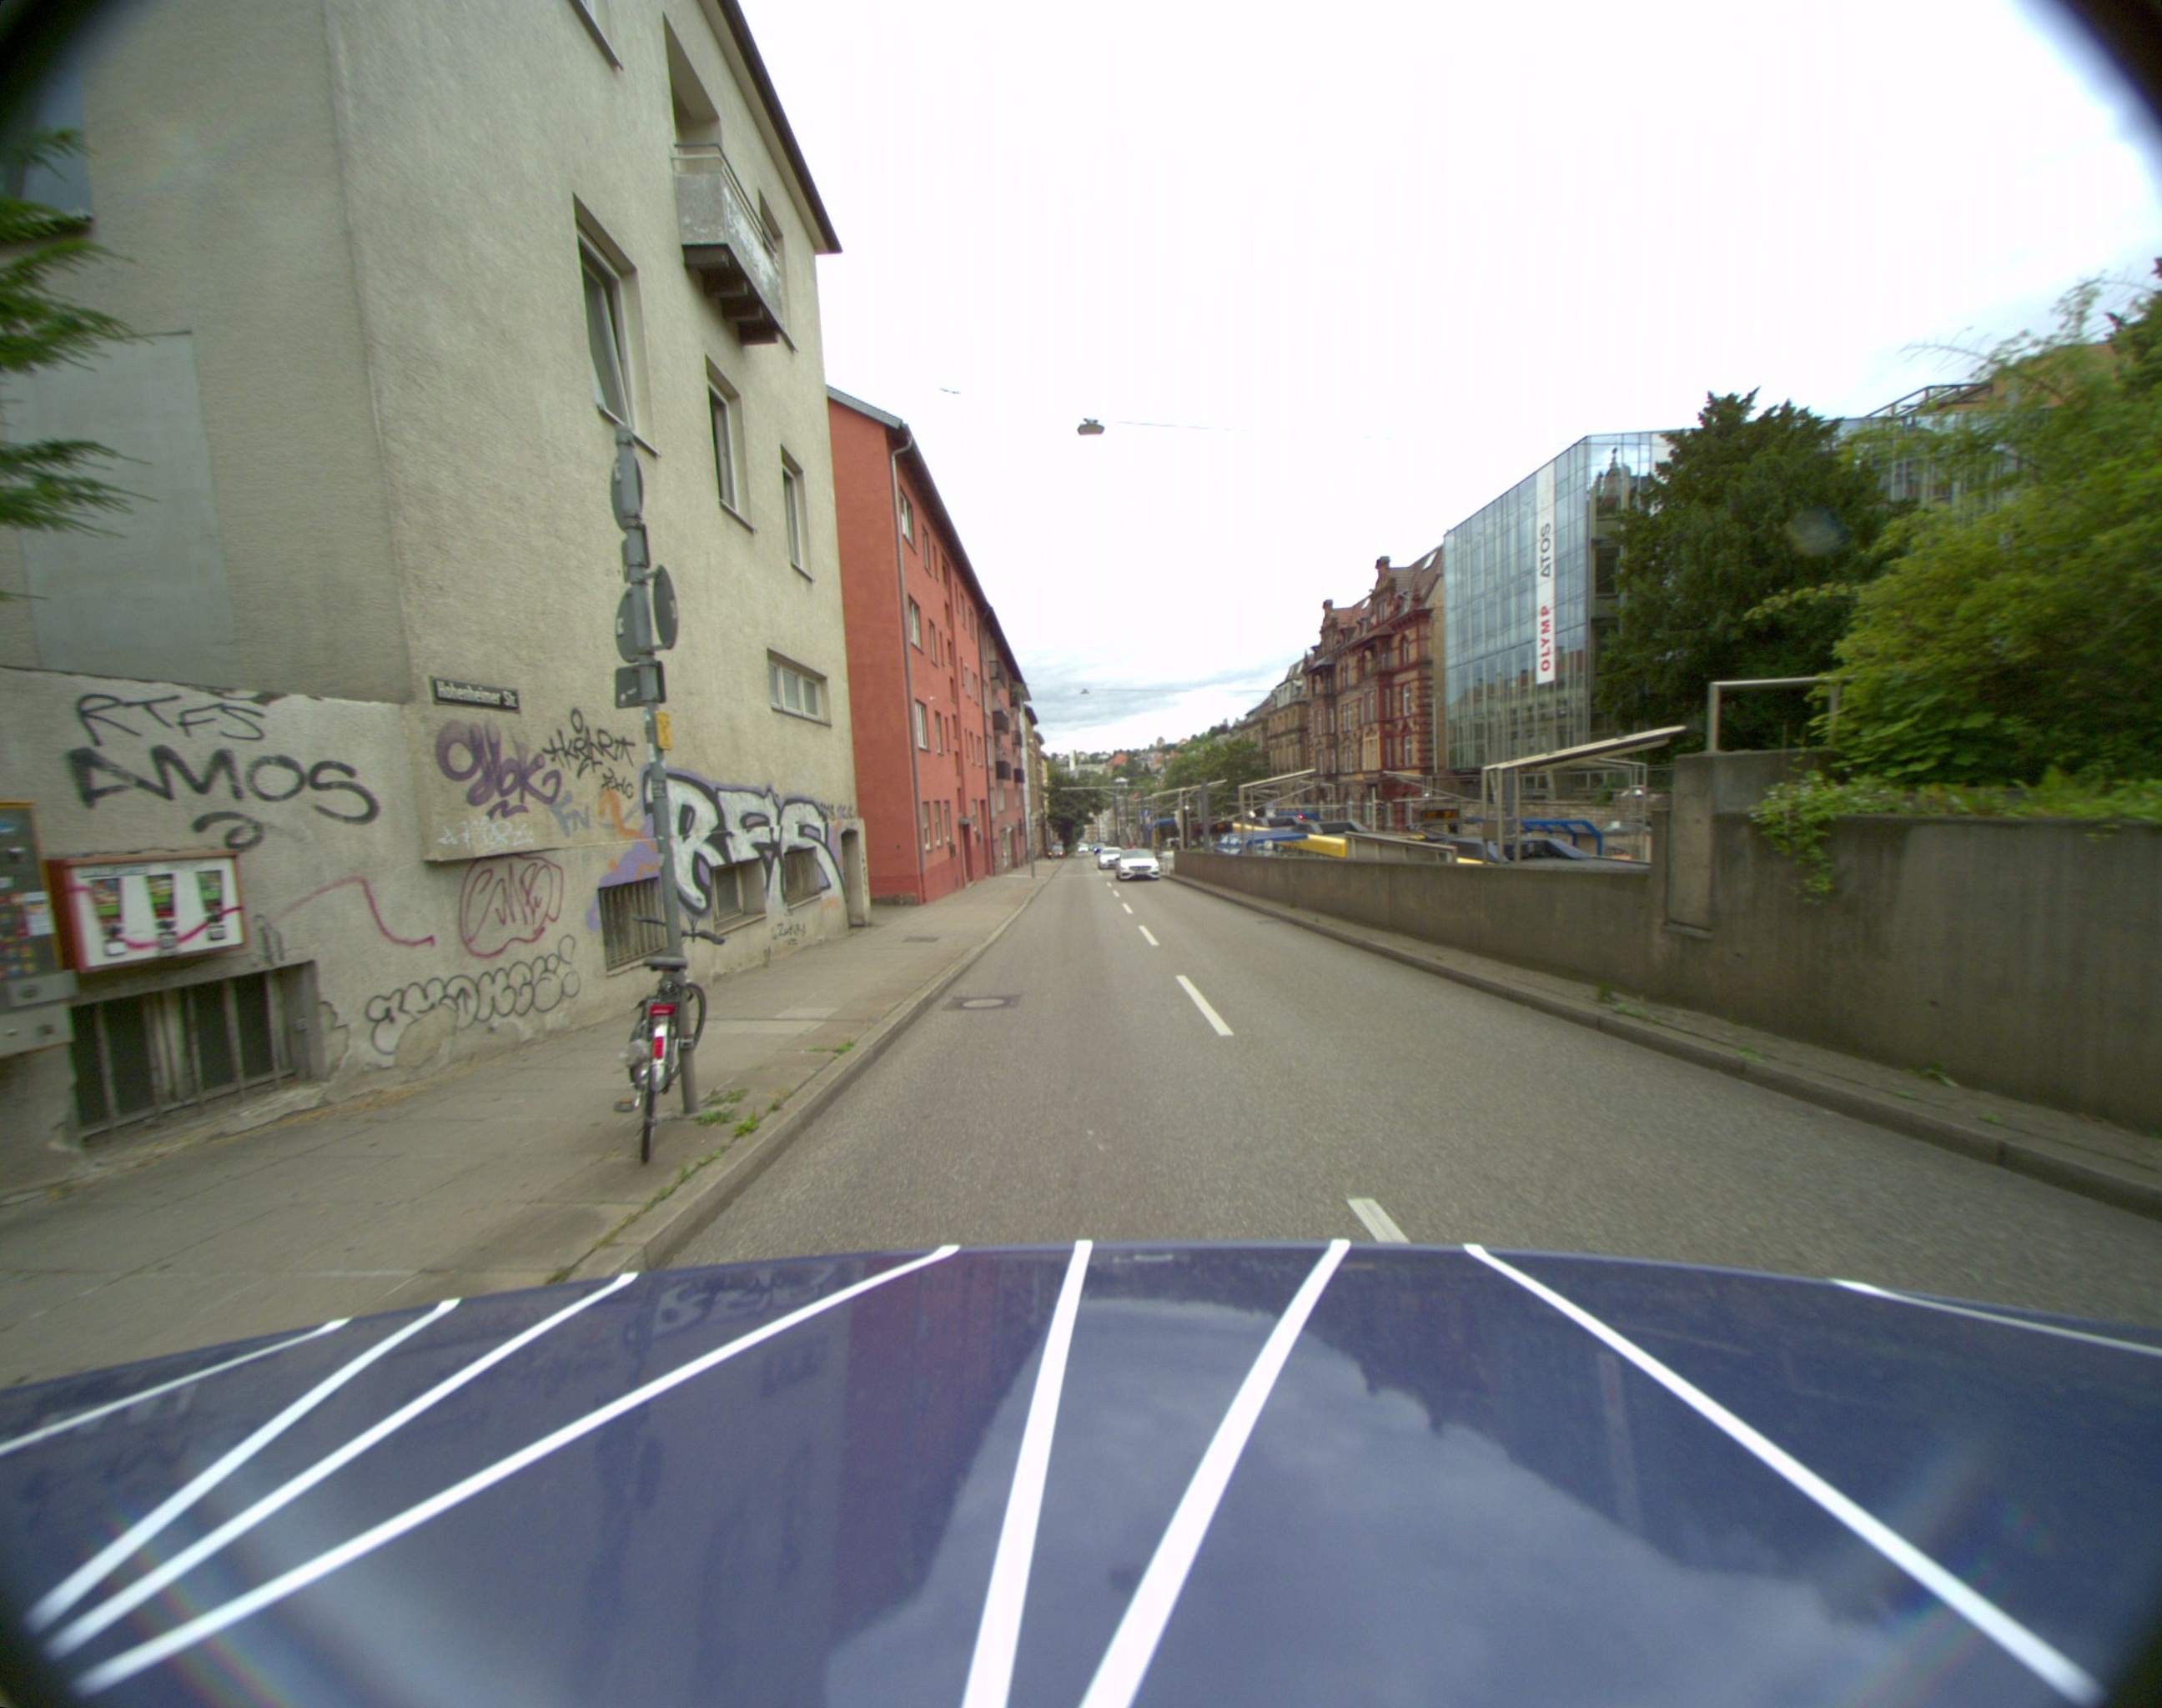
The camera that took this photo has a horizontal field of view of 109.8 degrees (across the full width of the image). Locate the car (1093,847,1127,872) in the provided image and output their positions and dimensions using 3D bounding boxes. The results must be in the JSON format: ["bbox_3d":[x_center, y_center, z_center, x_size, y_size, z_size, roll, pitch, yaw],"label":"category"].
[{"bbox_3d":[1.951,0.358,52.314,1.999,1.479,4.229,-6,1,-1],"label":"car"}]

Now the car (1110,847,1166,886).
[{"bbox_3d":[2.564,0.523,35.024,1.999,1.390,4.227,-5,3,-2],"label":"car"}]

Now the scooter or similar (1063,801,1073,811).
[{"bbox_3d":[-1.738,-6.302,98.965,1.199,1.266,0.629,0,2,-9],"label":"scooter or similar"}]

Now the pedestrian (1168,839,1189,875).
[{"bbox_3d":[4.963,0.164,38.792,0.818,1.767,0.802,-3,2,-2],"label":"pedestrian"}]

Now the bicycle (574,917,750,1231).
[{"bbox_3d":[-2.251,1.025,4.292,0.641,1.137,2.061,-2,1,-24],"label":"bicycle"}]

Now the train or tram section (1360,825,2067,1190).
[{"bbox_3d":[8.700,1.384,13.893,2.956,3.465,12.213,-3,3,2],"label":"train or tram section"}]

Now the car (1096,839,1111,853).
[{"bbox_3d":[3.149,-1.147,106.773,1.881,1.728,4.000,-3,1,2],"label":"car"}]

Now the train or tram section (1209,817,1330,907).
[{"bbox_3d":[9.014,0.043,38.228,2.957,3.524,12.390,-3,3,0],"label":"train or tram section"}]

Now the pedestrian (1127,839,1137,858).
[{"bbox_3d":[4.661,-0.524,69.588,0.680,1.671,0.685,-4,2,-2],"label":"pedestrian"}]

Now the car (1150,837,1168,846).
[{"bbox_3d":[18.216,-2.942,177.089,3.859,1.804,1.782,-3,1,-15],"label":"car"}]

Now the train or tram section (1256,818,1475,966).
[{"bbox_3d":[8.898,0.721,26.050,2.957,3.454,12.209,-3,4,0],"label":"train or tram section"}]

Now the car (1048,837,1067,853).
[{"bbox_3d":[-2.585,-1.070,86.011,1.862,1.702,4.307,-2,1,2],"label":"car"}]

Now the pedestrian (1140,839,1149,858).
[{"bbox_3d":[5.654,-0.481,67.560,0.623,1.685,0.659,-4,2,-9],"label":"pedestrian"}]
